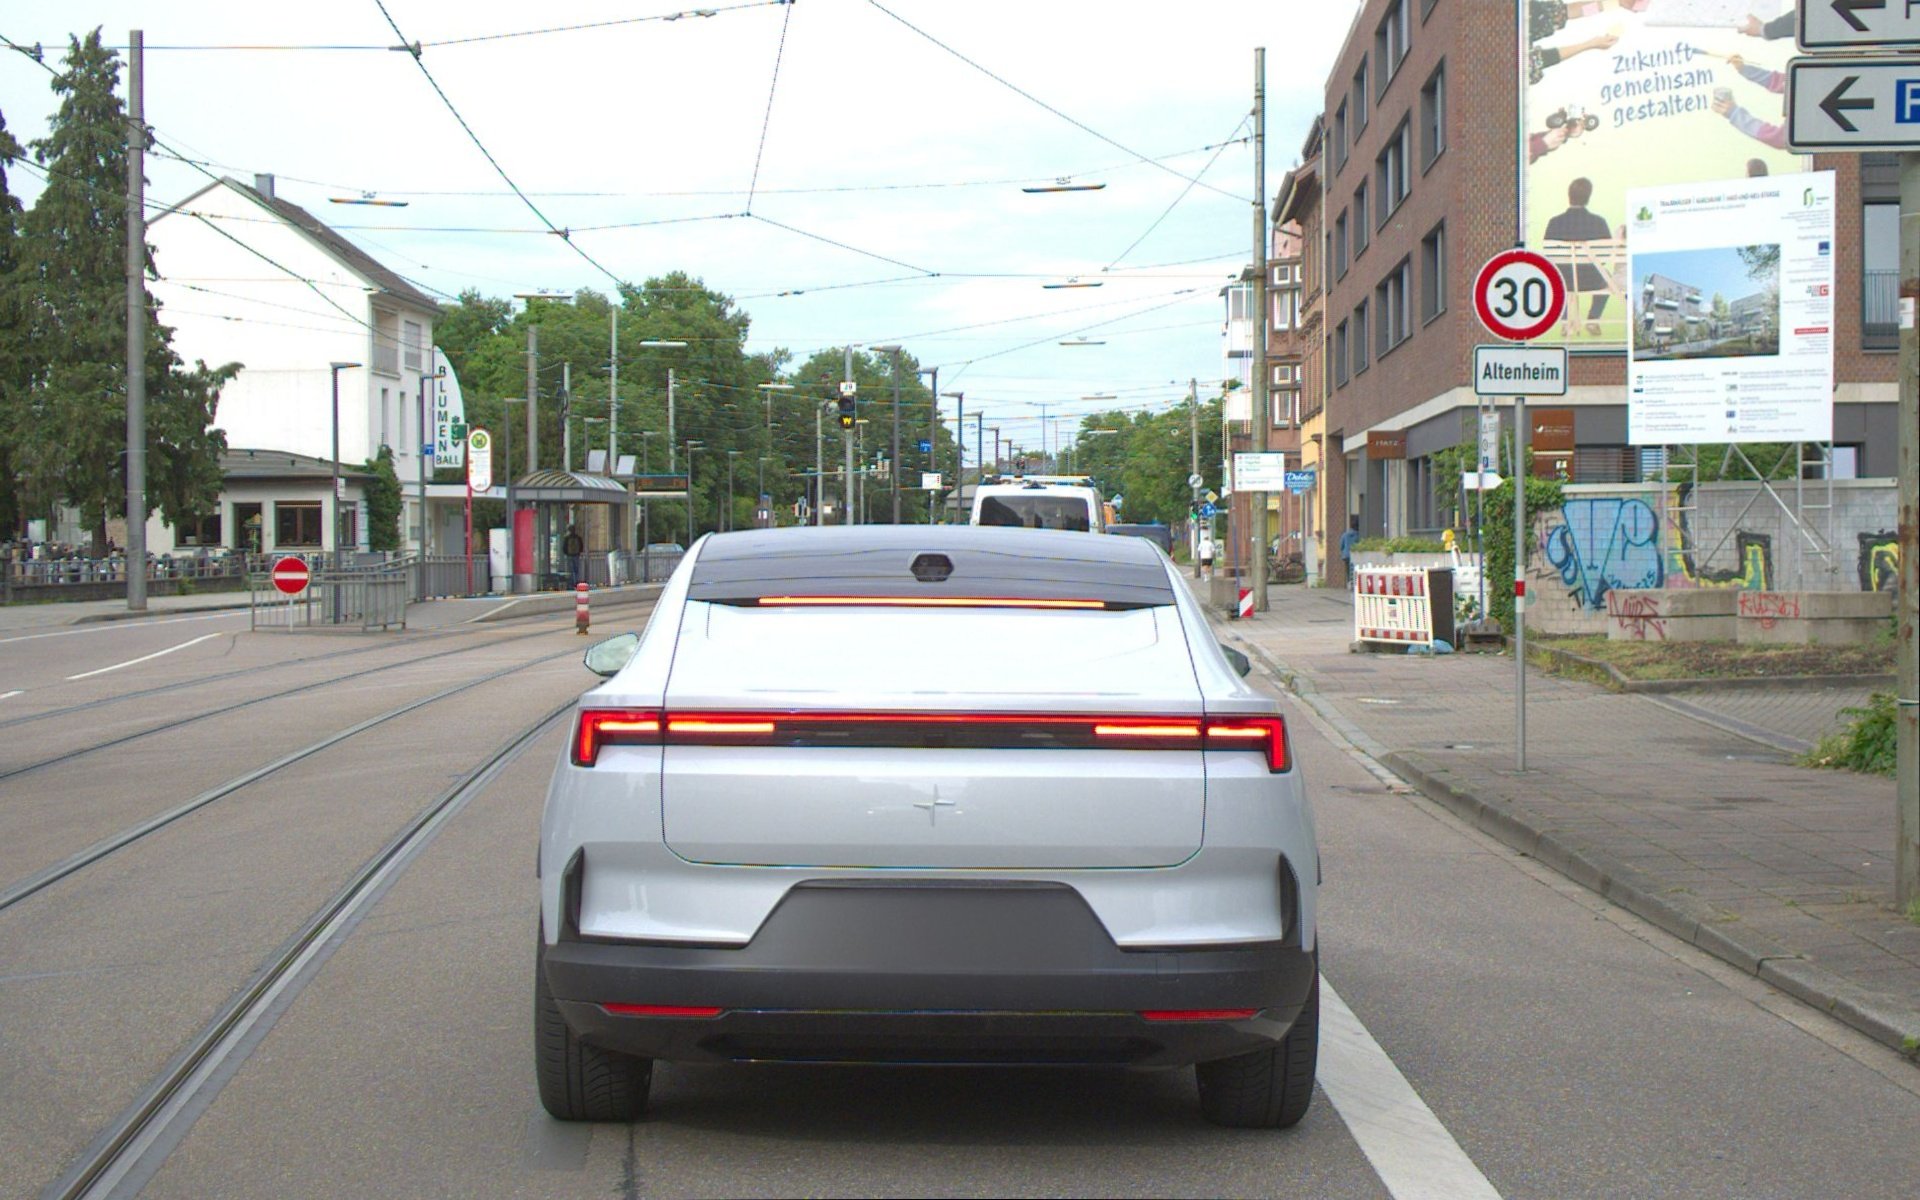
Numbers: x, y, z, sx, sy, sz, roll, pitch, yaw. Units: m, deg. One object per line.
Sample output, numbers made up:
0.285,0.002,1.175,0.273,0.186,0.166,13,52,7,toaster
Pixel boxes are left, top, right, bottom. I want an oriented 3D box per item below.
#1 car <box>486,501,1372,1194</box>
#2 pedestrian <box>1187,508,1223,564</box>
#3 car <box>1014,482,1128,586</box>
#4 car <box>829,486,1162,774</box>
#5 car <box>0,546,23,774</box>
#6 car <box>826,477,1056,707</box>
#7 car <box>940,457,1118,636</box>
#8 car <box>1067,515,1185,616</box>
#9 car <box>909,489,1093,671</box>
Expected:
-0.230,0.531,9.884,1.981,1.544,4.184,1,1,-5,car
8.859,-2.300,124.229,1.219,2.007,0.934,-1,1,-1,pedestrian
2.373,-1.402,74.777,2.139,2.138,4.744,1,0,-2,car
0.148,0.172,23.270,1.968,1.750,3.838,1,0,-3,car
-7.641,0.422,19.738,1.948,1.422,4.882,0,1,19,car
-0.245,-0.086,32.684,1.993,2.007,4.000,1,0,-3,car
0.934,-0.755,49.760,2.216,2.415,4.952,1,0,-2,car
3.108,-0.648,64.987,1.874,1.817,4.097,1,0,-2,car
0.432,-0.236,40.666,1.993,2.007,4.000,1,0,-1,car
